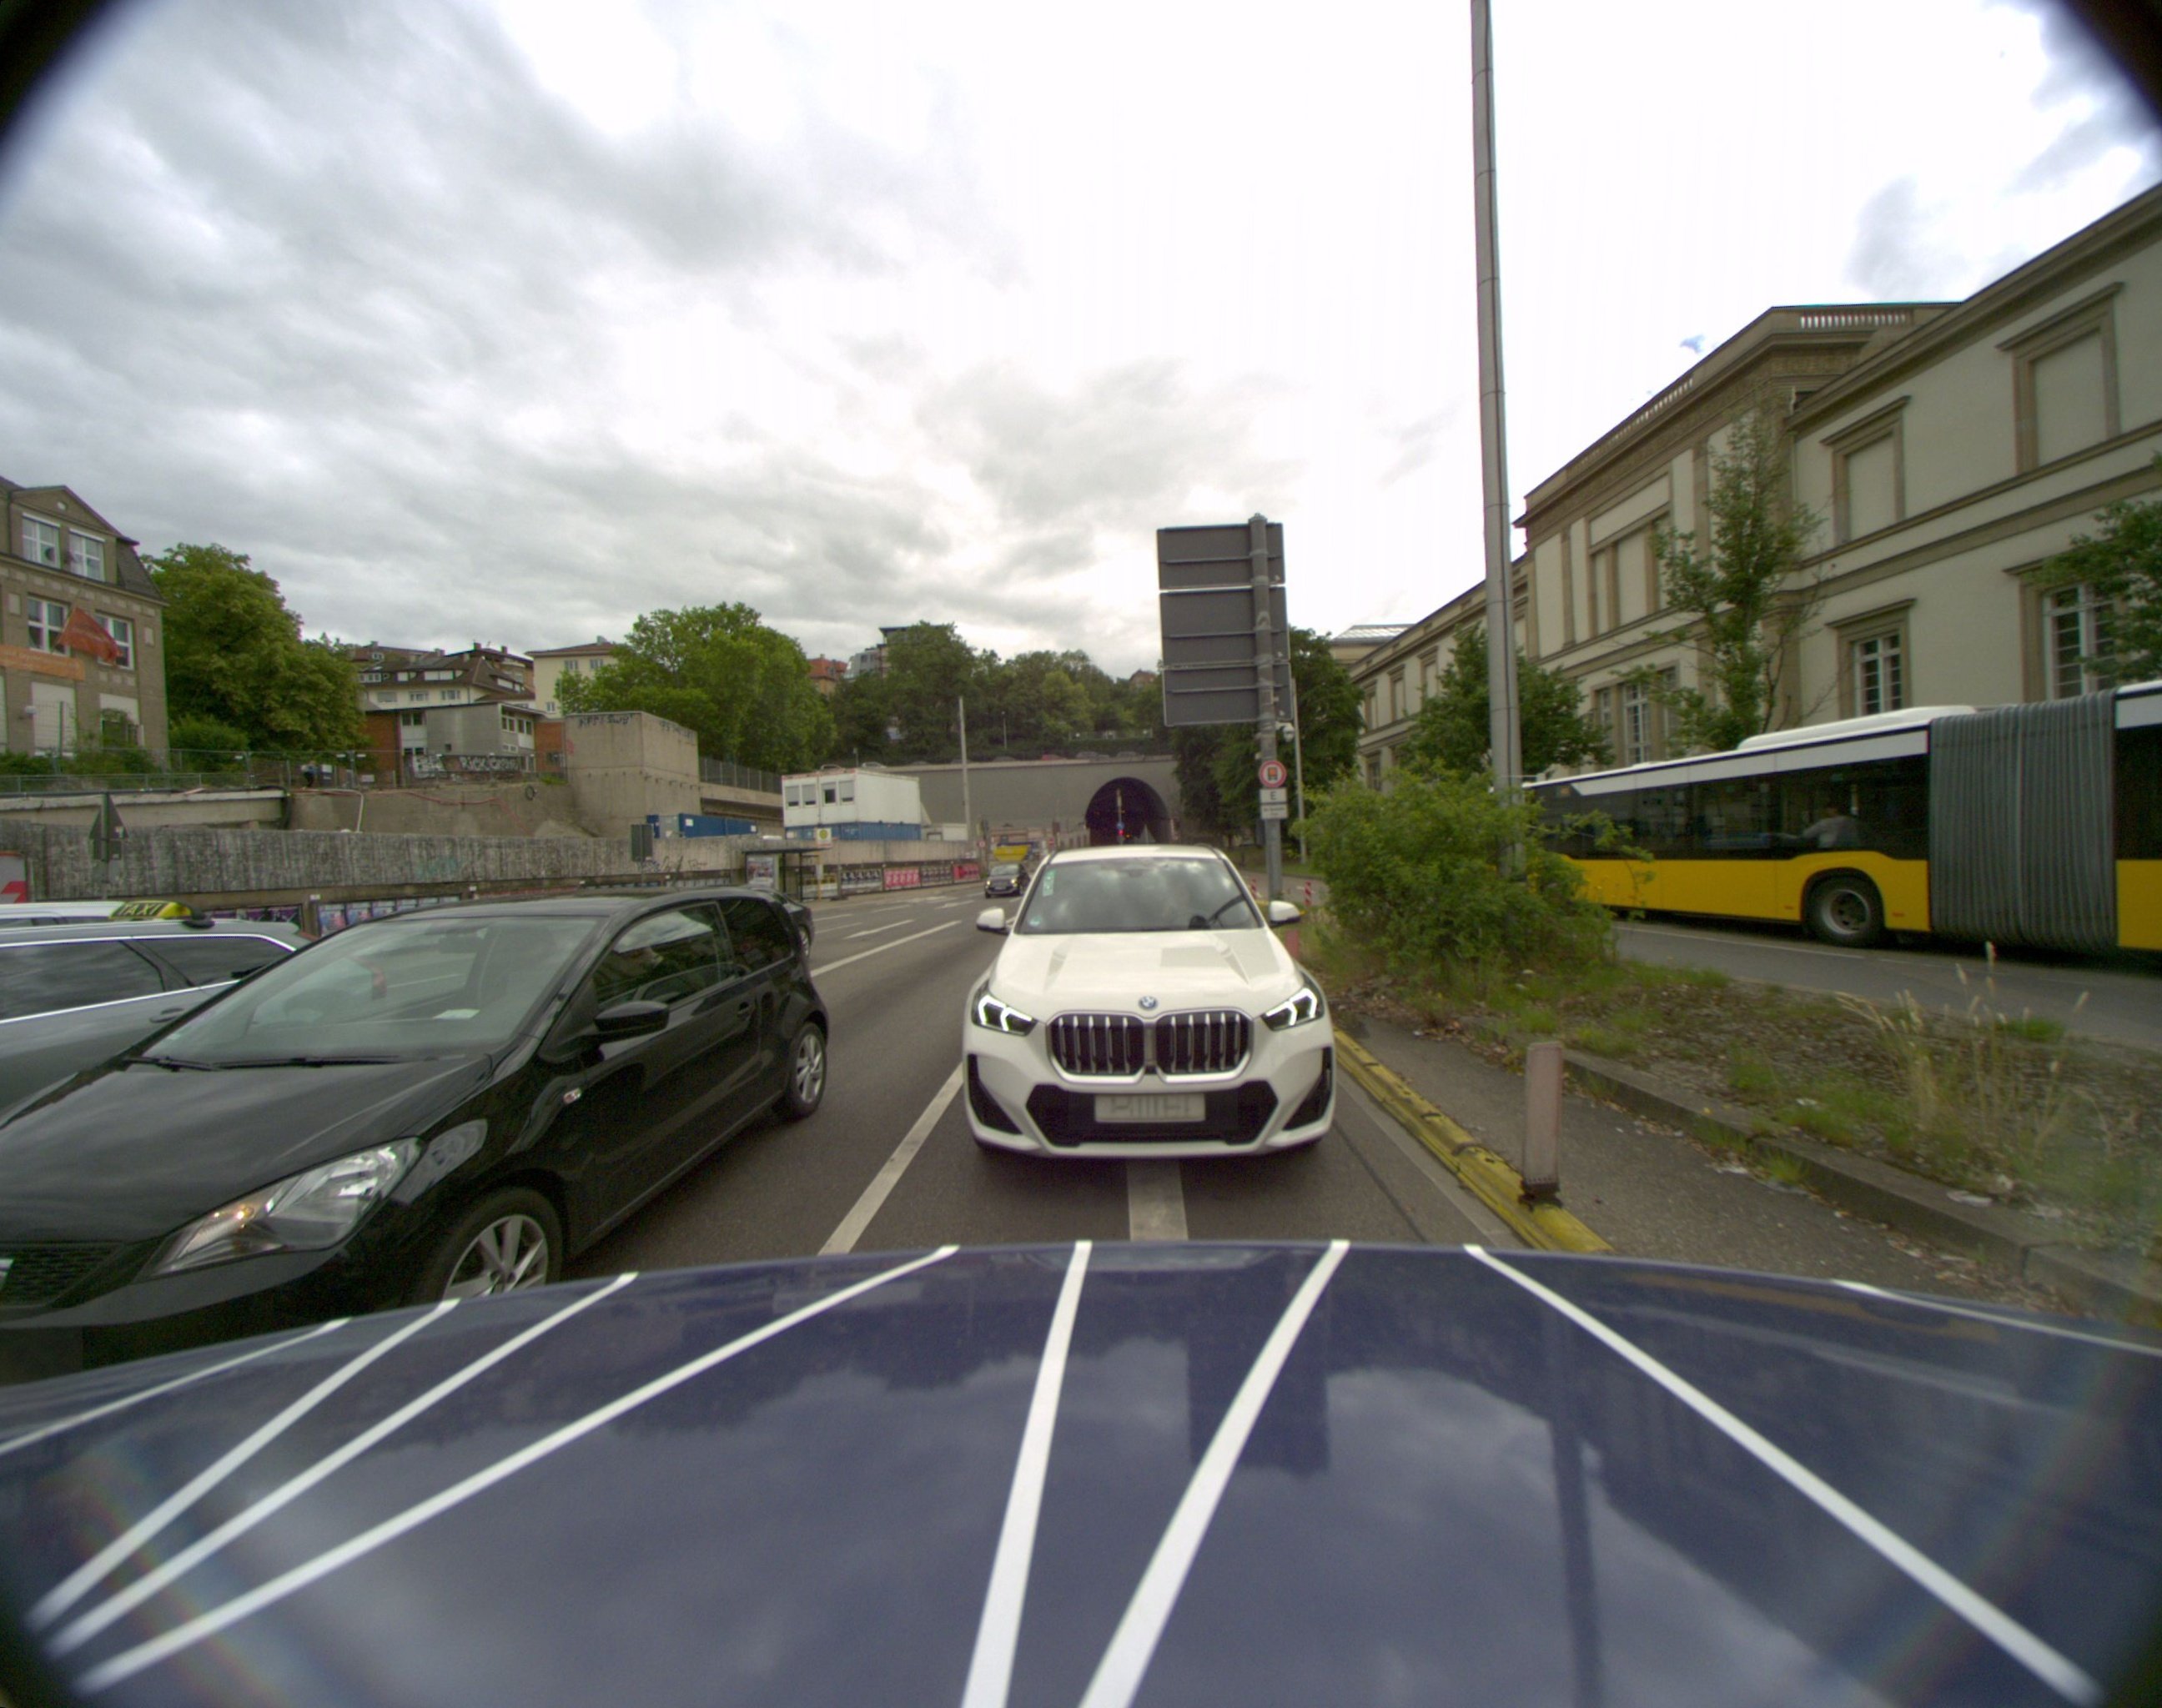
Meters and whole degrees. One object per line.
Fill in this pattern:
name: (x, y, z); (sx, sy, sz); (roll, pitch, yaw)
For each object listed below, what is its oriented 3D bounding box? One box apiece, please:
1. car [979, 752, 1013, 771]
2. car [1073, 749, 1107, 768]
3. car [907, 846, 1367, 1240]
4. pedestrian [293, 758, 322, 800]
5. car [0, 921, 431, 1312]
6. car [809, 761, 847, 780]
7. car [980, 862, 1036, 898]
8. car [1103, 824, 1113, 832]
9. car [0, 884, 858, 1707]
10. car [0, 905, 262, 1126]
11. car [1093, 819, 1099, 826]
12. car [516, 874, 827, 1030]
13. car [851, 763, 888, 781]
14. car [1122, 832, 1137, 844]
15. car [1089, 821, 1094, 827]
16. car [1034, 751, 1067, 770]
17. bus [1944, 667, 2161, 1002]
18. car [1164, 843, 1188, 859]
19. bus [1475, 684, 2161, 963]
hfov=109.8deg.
car: (-10.481, -11.401, 94.013); (3.998, 2.002, 1.999); (-2, 1, -2)
car: (1.103, -11.829, 94.492); (3.998, 2.002, 1.999); (-2, 1, -2)
car: (0.295, 0.798, 5.127); (1.848, 1.581, 3.882); (-3, 0, 2)
pedestrian: (-38.443, -3.716, 37.759); (0.646, 2.002, 0.666); (-2, 1, -3)
car: (-5.844, 1.334, 3.287); (1.826, 1.562, 4.654); (-3, 0, 3)
car: (-31.061, -10.259, 93.316); (3.998, 2.002, 1.999); (-2, 1, -5)
car: (-3.284, 1.140, 34.828); (1.730, 1.435, 4.001); (-3, 0, 5)
car: (5.498, -5.243, 153.295); (1.711, 1.505, 4.287); (0, 0, -3)
car: (-2.505, 1.002, 3.417); (1.667, 1.487, 3.882); (-3, 0, 2)
car: (-9.160, 1.342, 5.275); (1.704, 1.550, 4.552); (-3, 0, 6)
car: (4.245, -8.815, 212.040); (1.667, 1.582, 3.882); (-1, 0, 2)
car: (-5.432, 1.185, 10.925); (1.704, 1.550, 4.551); (-3, 0, 4)
car: (-26.012, -10.072, 93.379); (3.998, 2.002, 1.999); (-2, 1, -5)
car: (6.795, -2.195, 106.352); (1.701, 1.580, 3.882); (-3, 0, -1)
car: (3.170, -9.072, 229.425); (1.667, 1.582, 3.882); (-1, 0, 2)
car: (-3.775, -11.650, 94.408); (3.998, 2.002, 1.999); (-2, 1, -2)
bus: (11.385, -0.232, 4.181); (2.853, 3.096, 9.121); (-3, 0, 0)
car: (9.168, -0.305, 73.615); (1.705, 1.463, 4.629); (-3, 0, -1)
bus: (11.228, -0.363, 13.613); (2.853, 3.096, 9.746); (-3, 0, -2)
